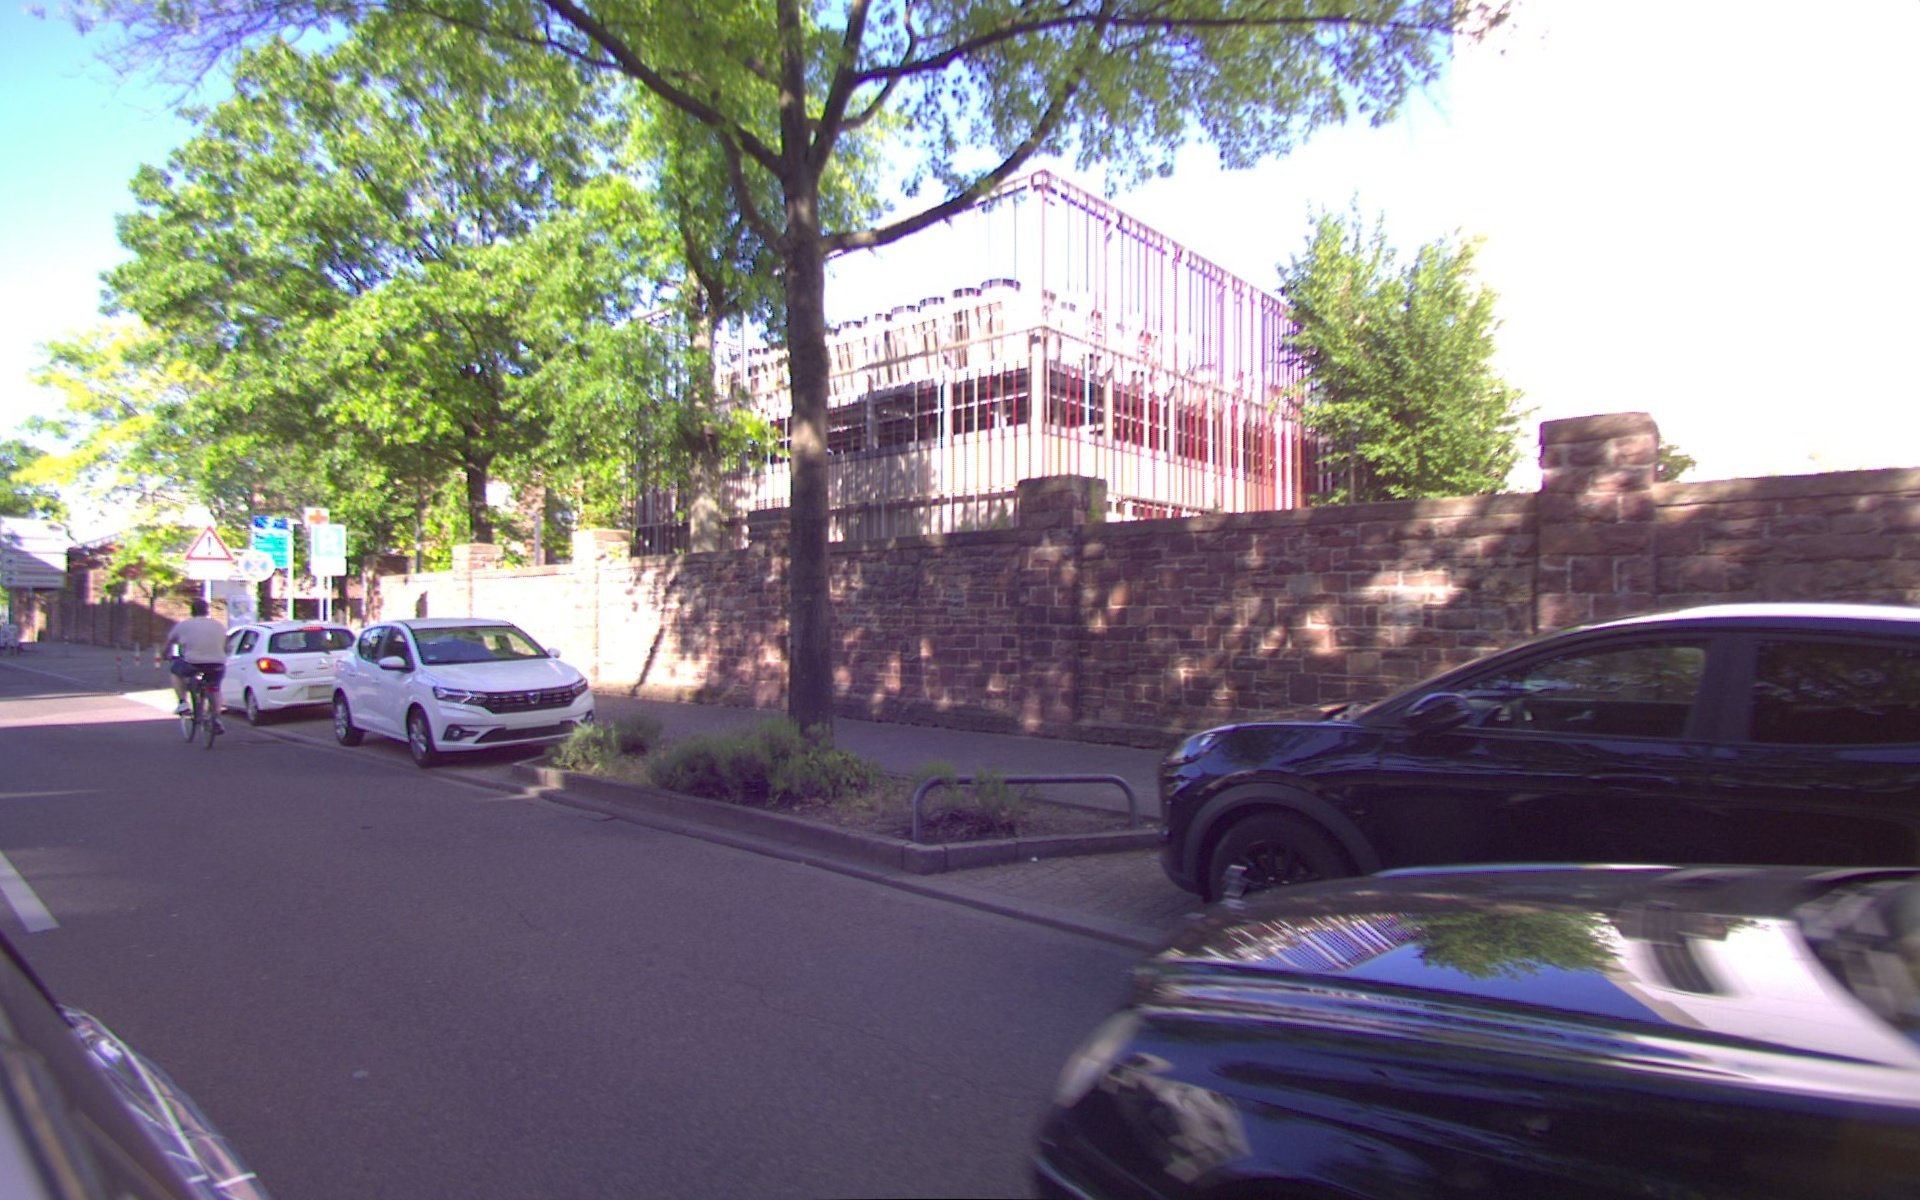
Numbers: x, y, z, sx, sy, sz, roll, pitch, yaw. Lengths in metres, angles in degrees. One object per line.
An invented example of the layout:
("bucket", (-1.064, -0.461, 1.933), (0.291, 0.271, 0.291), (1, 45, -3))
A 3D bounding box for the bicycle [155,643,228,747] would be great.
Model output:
("bicycle", (-9.297, 1.109, 12.217), (1.866, 1.129, 0.353), (-1, 1, 43))

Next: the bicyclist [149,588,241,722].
("bicyclist", (-9.276, 0.630, 12.267), (1.005, 1.534, 0.713), (-1, 1, 44))

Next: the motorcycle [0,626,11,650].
("motorcycle", (-42.568, 1.678, 44.362), (0.523, 1.047, 2.097), (-1, 0, -18))

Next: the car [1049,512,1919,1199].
("car", (2.222, 0.639, 0.883), (3.965, 1.447, 1.803), (-1, -2, 40))

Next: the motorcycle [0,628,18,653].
("motorcycle", (-40.456, 1.713, 42.357), (0.591, 1.040, 2.133), (0, -1, -15))

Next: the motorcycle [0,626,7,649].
("motorcycle", (-43.726, 1.716, 45.398), (0.523, 1.047, 2.097), (-1, 0, -18))

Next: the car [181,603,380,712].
("car", (-10.639, 0.822, 15.758), (3.748, 1.412, 1.558), (-1, 2, 41))

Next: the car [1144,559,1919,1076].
("car", (2.889, 0.646, 3.967), (4.042, 1.526, 1.557), (-1, 0, 41))

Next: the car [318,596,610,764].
("car", (-5.740, 0.780, 11.514), (3.849, 1.522, 1.659), (-1, 2, 43))
